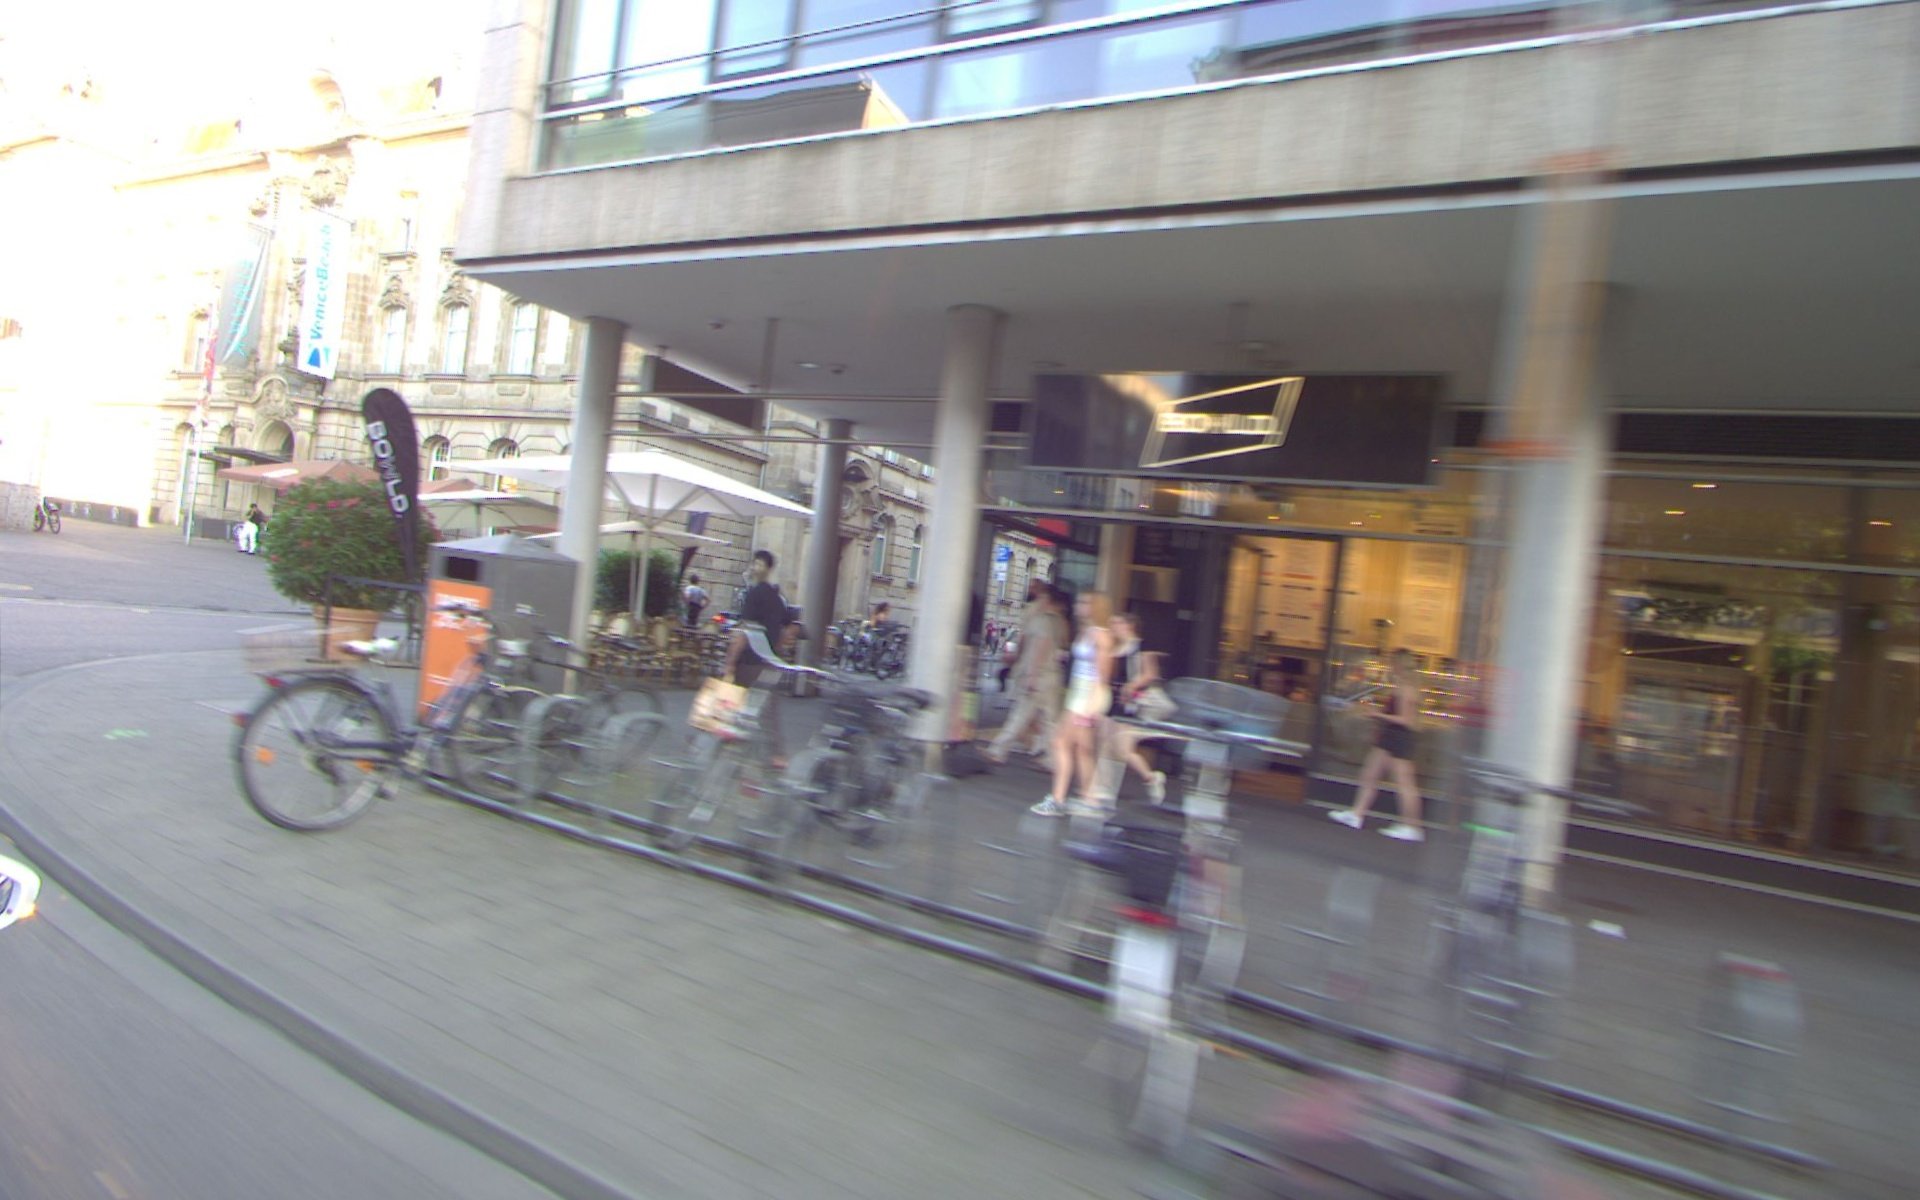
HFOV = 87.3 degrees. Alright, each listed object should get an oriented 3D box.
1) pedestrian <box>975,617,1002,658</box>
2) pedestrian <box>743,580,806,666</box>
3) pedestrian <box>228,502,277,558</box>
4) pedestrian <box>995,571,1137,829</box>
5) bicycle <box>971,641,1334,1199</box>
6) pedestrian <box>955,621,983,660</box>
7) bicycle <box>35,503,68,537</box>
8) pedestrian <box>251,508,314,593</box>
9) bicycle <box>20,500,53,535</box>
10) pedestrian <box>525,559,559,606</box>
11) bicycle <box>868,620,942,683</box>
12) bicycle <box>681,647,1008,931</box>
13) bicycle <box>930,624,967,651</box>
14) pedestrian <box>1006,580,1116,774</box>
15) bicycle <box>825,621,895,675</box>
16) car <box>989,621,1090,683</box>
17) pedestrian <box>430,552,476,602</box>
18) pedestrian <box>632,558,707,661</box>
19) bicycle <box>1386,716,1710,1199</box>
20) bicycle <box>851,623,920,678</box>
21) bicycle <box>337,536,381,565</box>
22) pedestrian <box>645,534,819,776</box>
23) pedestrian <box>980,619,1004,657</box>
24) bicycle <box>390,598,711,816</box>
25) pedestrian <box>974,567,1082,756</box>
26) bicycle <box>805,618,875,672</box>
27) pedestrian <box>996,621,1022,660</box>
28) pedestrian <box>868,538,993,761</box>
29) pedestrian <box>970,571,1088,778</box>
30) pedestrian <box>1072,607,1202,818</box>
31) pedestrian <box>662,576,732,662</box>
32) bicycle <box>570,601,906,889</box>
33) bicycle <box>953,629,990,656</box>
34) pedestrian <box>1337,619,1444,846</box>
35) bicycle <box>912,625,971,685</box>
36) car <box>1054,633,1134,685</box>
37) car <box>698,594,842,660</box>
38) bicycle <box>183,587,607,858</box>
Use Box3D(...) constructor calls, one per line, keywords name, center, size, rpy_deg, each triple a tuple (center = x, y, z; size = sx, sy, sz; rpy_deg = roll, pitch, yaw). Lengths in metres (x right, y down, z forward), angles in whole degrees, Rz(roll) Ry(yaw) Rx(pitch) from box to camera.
Box3D(name="pedestrian", center=(1.339, 1.770, 47.424), size=(0.687, 1.834, 0.974), rpy_deg=(9, 1, 25))
Box3D(name="pedestrian", center=(-4.352, 0.547, 23.609), size=(0.858, 1.862, 0.867), rpy_deg=(10, 1, 22))
Box3D(name="pedestrian", center=(-22.432, -2.201, 31.906), size=(0.835, 1.585, 0.849), rpy_deg=(9, 1, 29))
Box3D(name="pedestrian", center=(0.765, 0.701, 7.421), size=(0.795, 1.716, 0.805), rpy_deg=(7, 1, 4))
Box3D(name="bicycle", center=(0.801, 0.865, 3.510), size=(0.712, 1.350, 1.919), rpy_deg=(7, 1, 23))
Box3D(name="pedestrian", center=(0.432, 1.901, 47.584), size=(0.785, 1.695, 0.974), rpy_deg=(9, 1, 25))
Box3D(name="bicycle", center=(-26.094, -2.305, 28.878), size=(0.982, 0.878, 0.316), rpy_deg=(7, 1, 27))
Box3D(name="pedestrian", center=(-15.960, -1.170, 23.691), size=(0.792, 1.846, 0.809), rpy_deg=(8, 1, 32))
Box3D(name="bicycle", center=(-26.241, -2.335, 28.587), size=(0.982, 0.878, 0.316), rpy_deg=(7, 1, 27))
Box3D(name="pedestrian", center=(-13.166, -0.542, 31.675), size=(0.659, 1.325, 0.764), rpy_deg=(7, 3, -38))
Box3D(name="bicycle", center=(-1.055, 1.029, 19.850), size=(0.537, 1.130, 1.812), rpy_deg=(5, -2, 27))
Box3D(name="bicycle", center=(-0.491, 0.851, 5.274), size=(0.749, 1.092, 1.919), rpy_deg=(7, 1, 23))
Box3D(name="bicycle", center=(-0.542, 1.789, 48.329), size=(1.657, 1.054, 0.486), rpy_deg=(9, 1, 33))
Box3D(name="pedestrian", center=(1.018, 0.756, 10.086), size=(0.707, 1.809, 0.664), rpy_deg=(7, 1, 28))
Box3D(name="bicycle", center=(-2.130, 1.045, 21.608), size=(0.551, 1.053, 1.683), rpy_deg=(5, -2, 28))
Box3D(name="car", center=(2.702, 1.780, 33.368), size=(1.744, 1.655, 4.050), rpy_deg=(9, 0, 27))
Box3D(name="pedestrian", center=(-14.567, -0.660, 28.905), size=(0.816, 1.257, 0.778), rpy_deg=(10, 1, 42))
Box3D(name="pedestrian", center=(-5.710, 0.191, 19.813), size=(0.859, 1.860, 0.806), rpy_deg=(7, -1, 27))
Box3D(name="bicycle", center=(2.121, 1.161, 3.928), size=(0.712, 1.170, 2.000), rpy_deg=(7, 1, 23))
Box3D(name="bicycle", center=(-1.559, 1.078, 21.311), size=(0.551, 1.053, 1.683), rpy_deg=(5, -2, 28))
Box3D(name="bicycle", center=(-21.942, -1.805, 36.765), size=(0.403, 0.905, 1.321), rpy_deg=(8, 0, 23))
Box3D(name="pedestrian", center=(-1.807, 0.420, 7.999), size=(0.907, 1.740, 0.764), rpy_deg=(7, 1, 29))
Box3D(name="pedestrian", center=(1.539, 1.854, 49.057), size=(0.679, 1.773, 0.721), rpy_deg=(9, 1, 25))
Box3D(name="bicycle", center=(-2.505, 0.626, 6.419), size=(0.655, 1.123, 1.856), rpy_deg=(7, 1, 25))
Box3D(name="pedestrian", center=(0.723, 0.643, 10.637), size=(0.708, 1.871, 0.663), rpy_deg=(7, 1, 34))
Box3D(name="bicycle", center=(-2.579, 0.988, 21.828), size=(0.551, 1.053, 1.683), rpy_deg=(5, -2, 28))
Box3D(name="pedestrian", center=(2.406, 1.972, 49.128), size=(0.775, 1.773, 0.721), rpy_deg=(9, 1, 25))
Box3D(name="pedestrian", center=(-0.288, 0.471, 9.867), size=(0.769, 2.039, 0.687), rpy_deg=(7, 1, 28))
Box3D(name="pedestrian", center=(0.658, 0.688, 9.501), size=(0.707, 1.809, 0.664), rpy_deg=(7, 1, 28))
Box3D(name="pedestrian", center=(1.425, 0.882, 8.254), size=(0.795, 1.556, 0.805), rpy_deg=(7, 1, 4))
Box3D(name="pedestrian", center=(-5.370, 0.398, 20.555), size=(0.859, 1.599, 0.806), rpy_deg=(7, -1, 27))
Box3D(name="bicycle", center=(-1.123, 0.696, 5.621), size=(0.749, 1.238, 1.919), rpy_deg=(7, 1, 23))
Box3D(name="bicycle", center=(0.585, 2.140, 50.713), size=(1.653, 1.054, 0.487), rpy_deg=(9, 1, 11))
Box3D(name="pedestrian", center=(3.599, 1.072, 8.398), size=(0.606, 1.753, 0.571), rpy_deg=(7, 1, 27))
Box3D(name="bicycle", center=(-0.364, 1.141, 20.676), size=(0.536, 1.130, 1.814), rpy_deg=(5, -2, 19))
Box3D(name="car", center=(5.197, 2.296, 38.671), size=(1.743, 1.655, 4.089), rpy_deg=(9, 0, 24))
Box3D(name="car", center=(-5.212, 0.798, 28.079), size=(1.744, 1.425, 4.051), rpy_deg=(6, -2, 27))
Box3D(name="bicycle", center=(-2.868, 0.580, 5.361), size=(0.655, 1.123, 1.856), rpy_deg=(7, 1, 25))
